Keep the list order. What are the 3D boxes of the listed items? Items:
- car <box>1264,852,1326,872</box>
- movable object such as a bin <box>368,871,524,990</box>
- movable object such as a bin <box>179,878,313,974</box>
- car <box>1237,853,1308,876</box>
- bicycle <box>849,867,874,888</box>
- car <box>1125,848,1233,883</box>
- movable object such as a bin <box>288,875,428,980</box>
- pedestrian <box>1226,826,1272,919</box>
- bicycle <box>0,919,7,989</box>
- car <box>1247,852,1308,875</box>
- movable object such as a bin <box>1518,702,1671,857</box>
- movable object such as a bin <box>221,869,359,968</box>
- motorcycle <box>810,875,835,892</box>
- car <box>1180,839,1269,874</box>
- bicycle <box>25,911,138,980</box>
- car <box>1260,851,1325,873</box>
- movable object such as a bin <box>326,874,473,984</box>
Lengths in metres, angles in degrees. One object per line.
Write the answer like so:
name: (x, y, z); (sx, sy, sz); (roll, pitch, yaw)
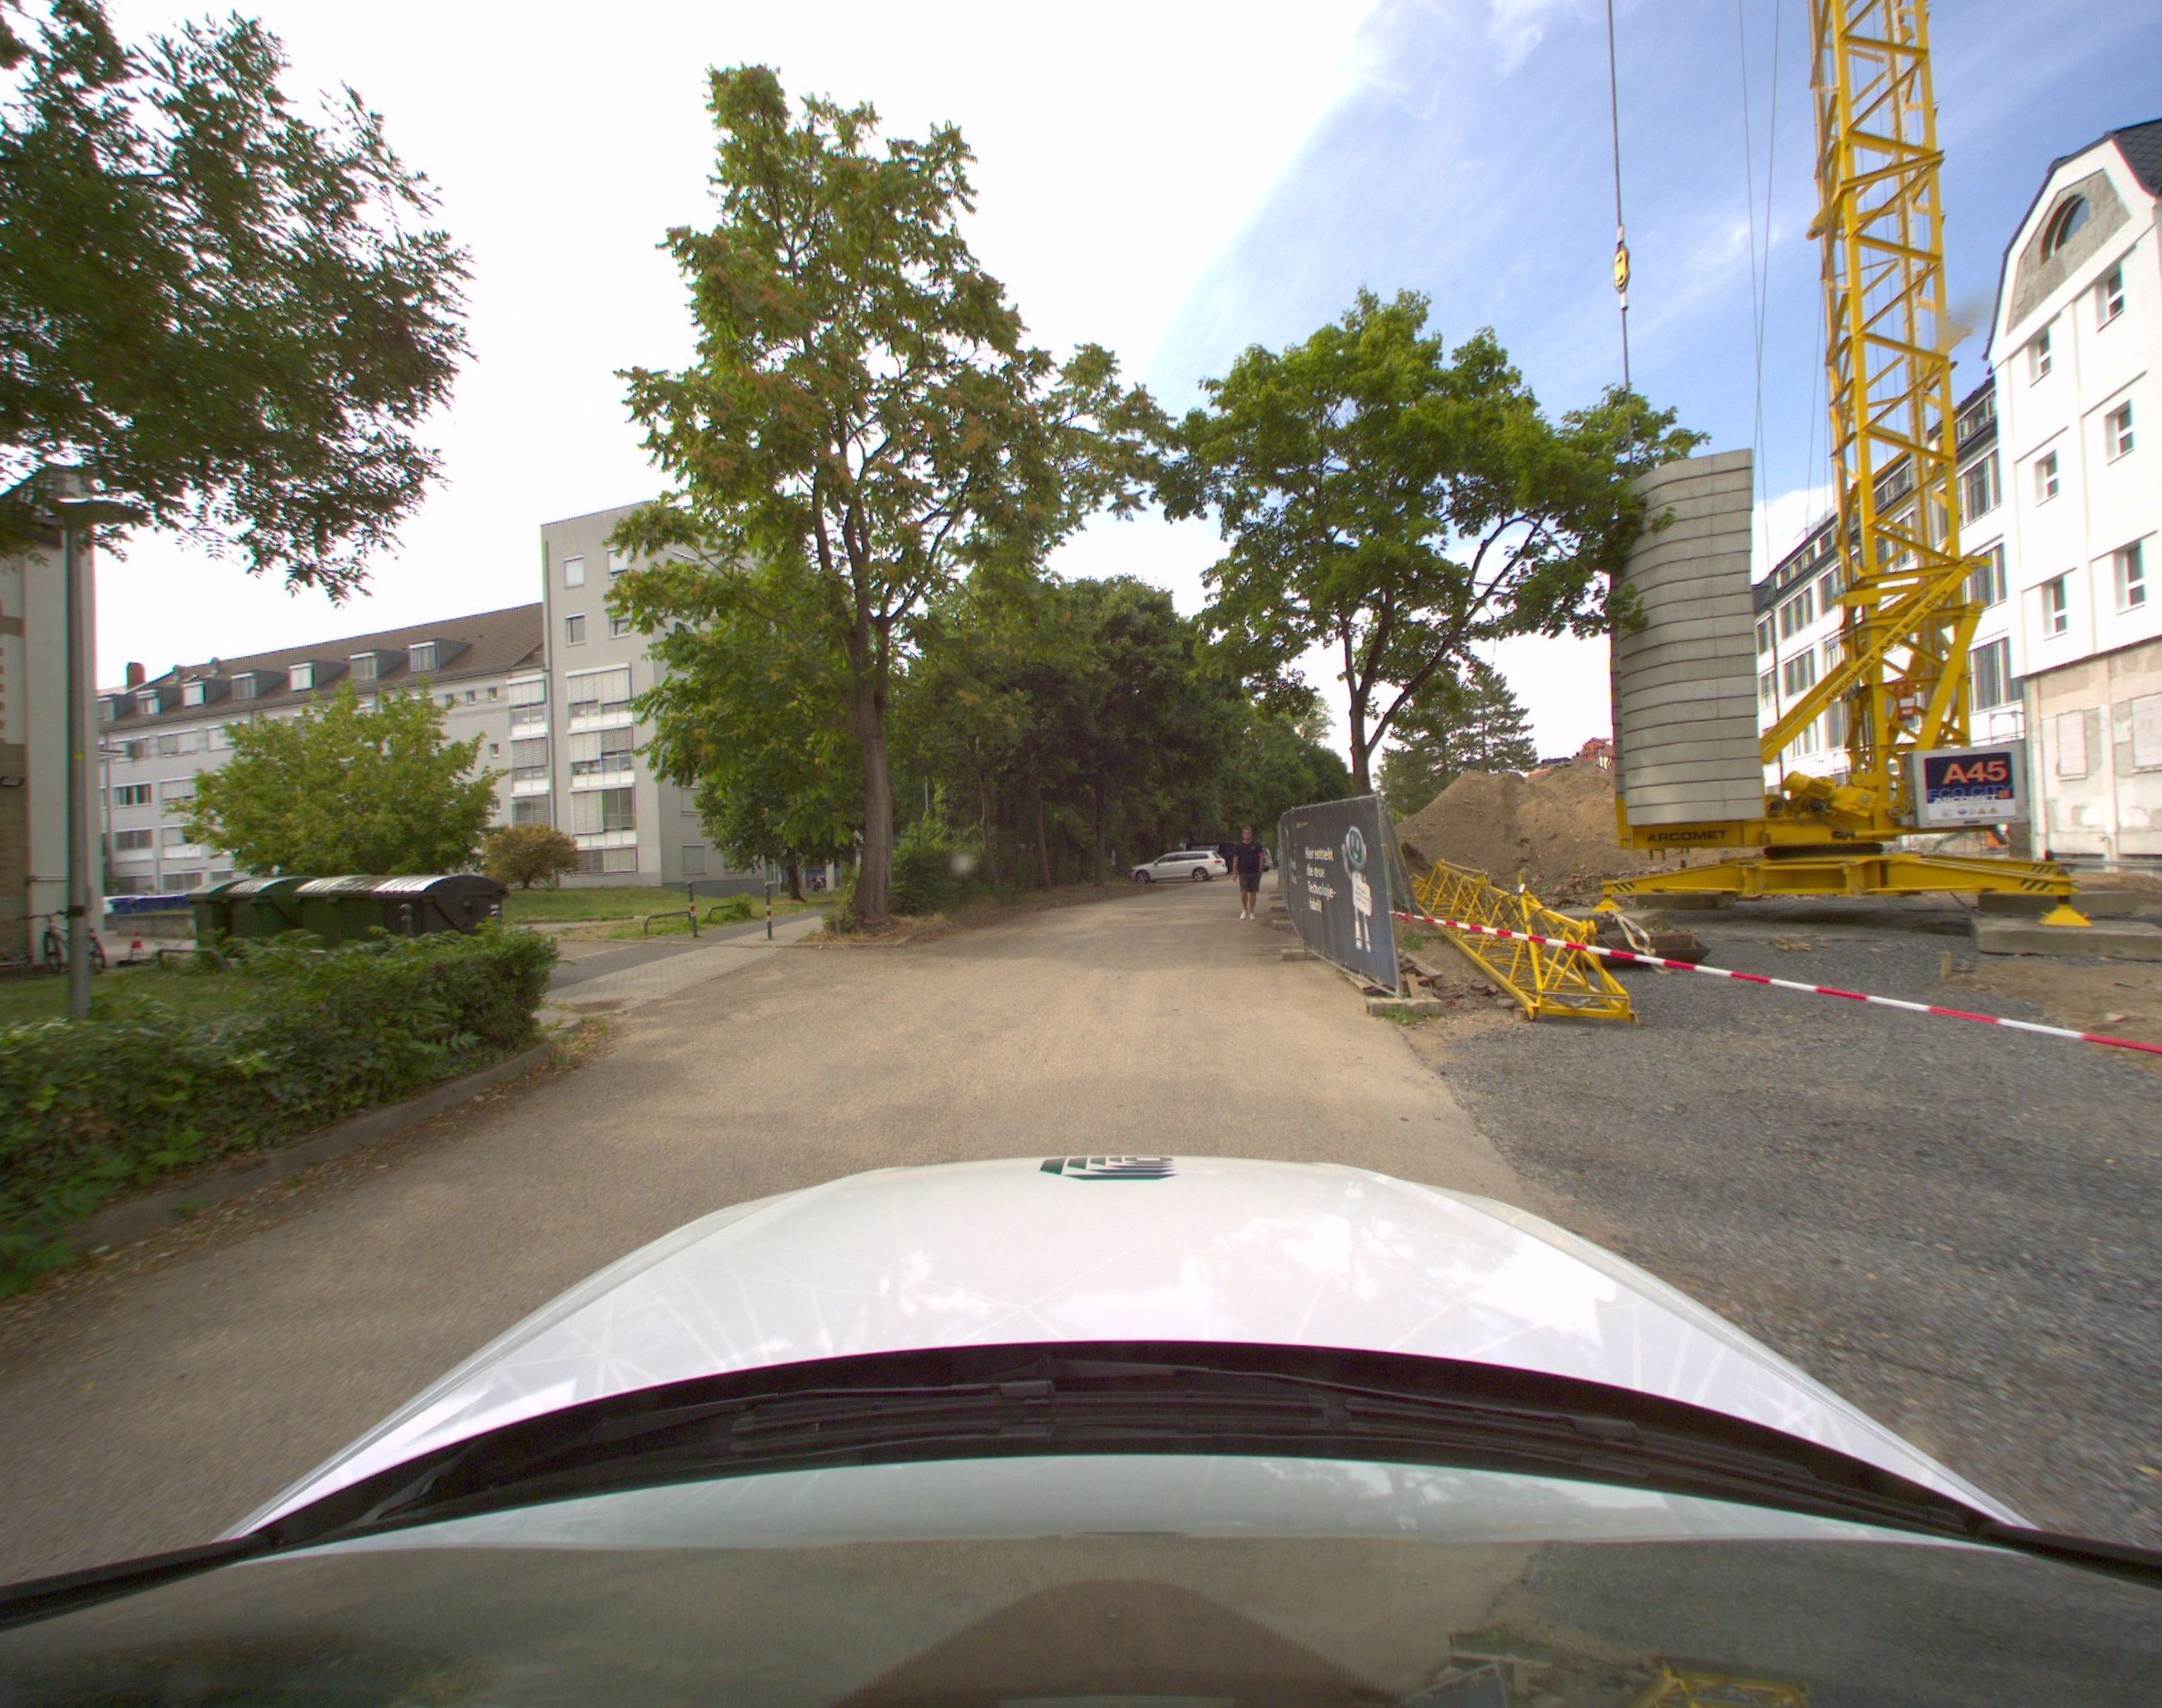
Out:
car: (17.561, 0.640, 66.778); (4.753, 1.488, 2.010); (-2, 0, 18)
movable object such as a bin: (-8.384, 0.971, 10.790); (1.268, 1.430, 1.129); (-2, 0, 24)
movable object such as a bin: (-13.642, 1.149, 13.319); (1.268, 1.430, 1.129); (-2, 0, 24)
car: (13.835, 0.739, 58.735); (4.753, 1.488, 2.010); (-2, 0, 18)
bicycle: (-13.353, 1.443, 49.581); (0.645, 1.181, 1.906); (-2, 0, 11)
car: (4.731, 0.536, 39.176); (4.753, 1.488, 2.010); (-2, 0, 18)
movable object such as a bin: (-10.867, 1.070, 12.263); (1.268, 1.430, 1.129); (-2, 0, 24)
pedestrian: (3.356, 0.355, 16.214); (0.741, 1.790, 0.734); (-2, 0, 19)
bicycle: (-17.151, 1.537, 12.293); (1.954, 1.043, 0.598); (-2, 0, 22)
car: (14.783, 0.719, 61.254); (4.299, 1.543, 1.762); (-2, 0, 18)
movable object such as a bin: (25.836, -3.365, 40.600); (11.052, 6.669, 3.809); (-2, 0, -44)
movable object such as a bin: (-12.386, 0.976, 12.778); (1.268, 1.430, 1.129); (-2, 0, 24)
motorcycle: (-20.883, 2.354, 65.763); (0.660, 1.290, 2.159); (-2, 0, 23)
car: (8.776, 0.160, 49.889); (5.001, 1.953, 2.011); (-2, 0, 22)
bicycle: (-16.665, 1.499, 13.570); (1.954, 1.043, 0.598); (-2, 0, 22)
car: (16.667, 0.618, 64.053); (4.753, 1.488, 2.010); (-2, 0, 18)
movable object such as a bin: (-9.686, 1.028, 11.608); (1.268, 1.430, 1.129); (-2, 0, 24)
